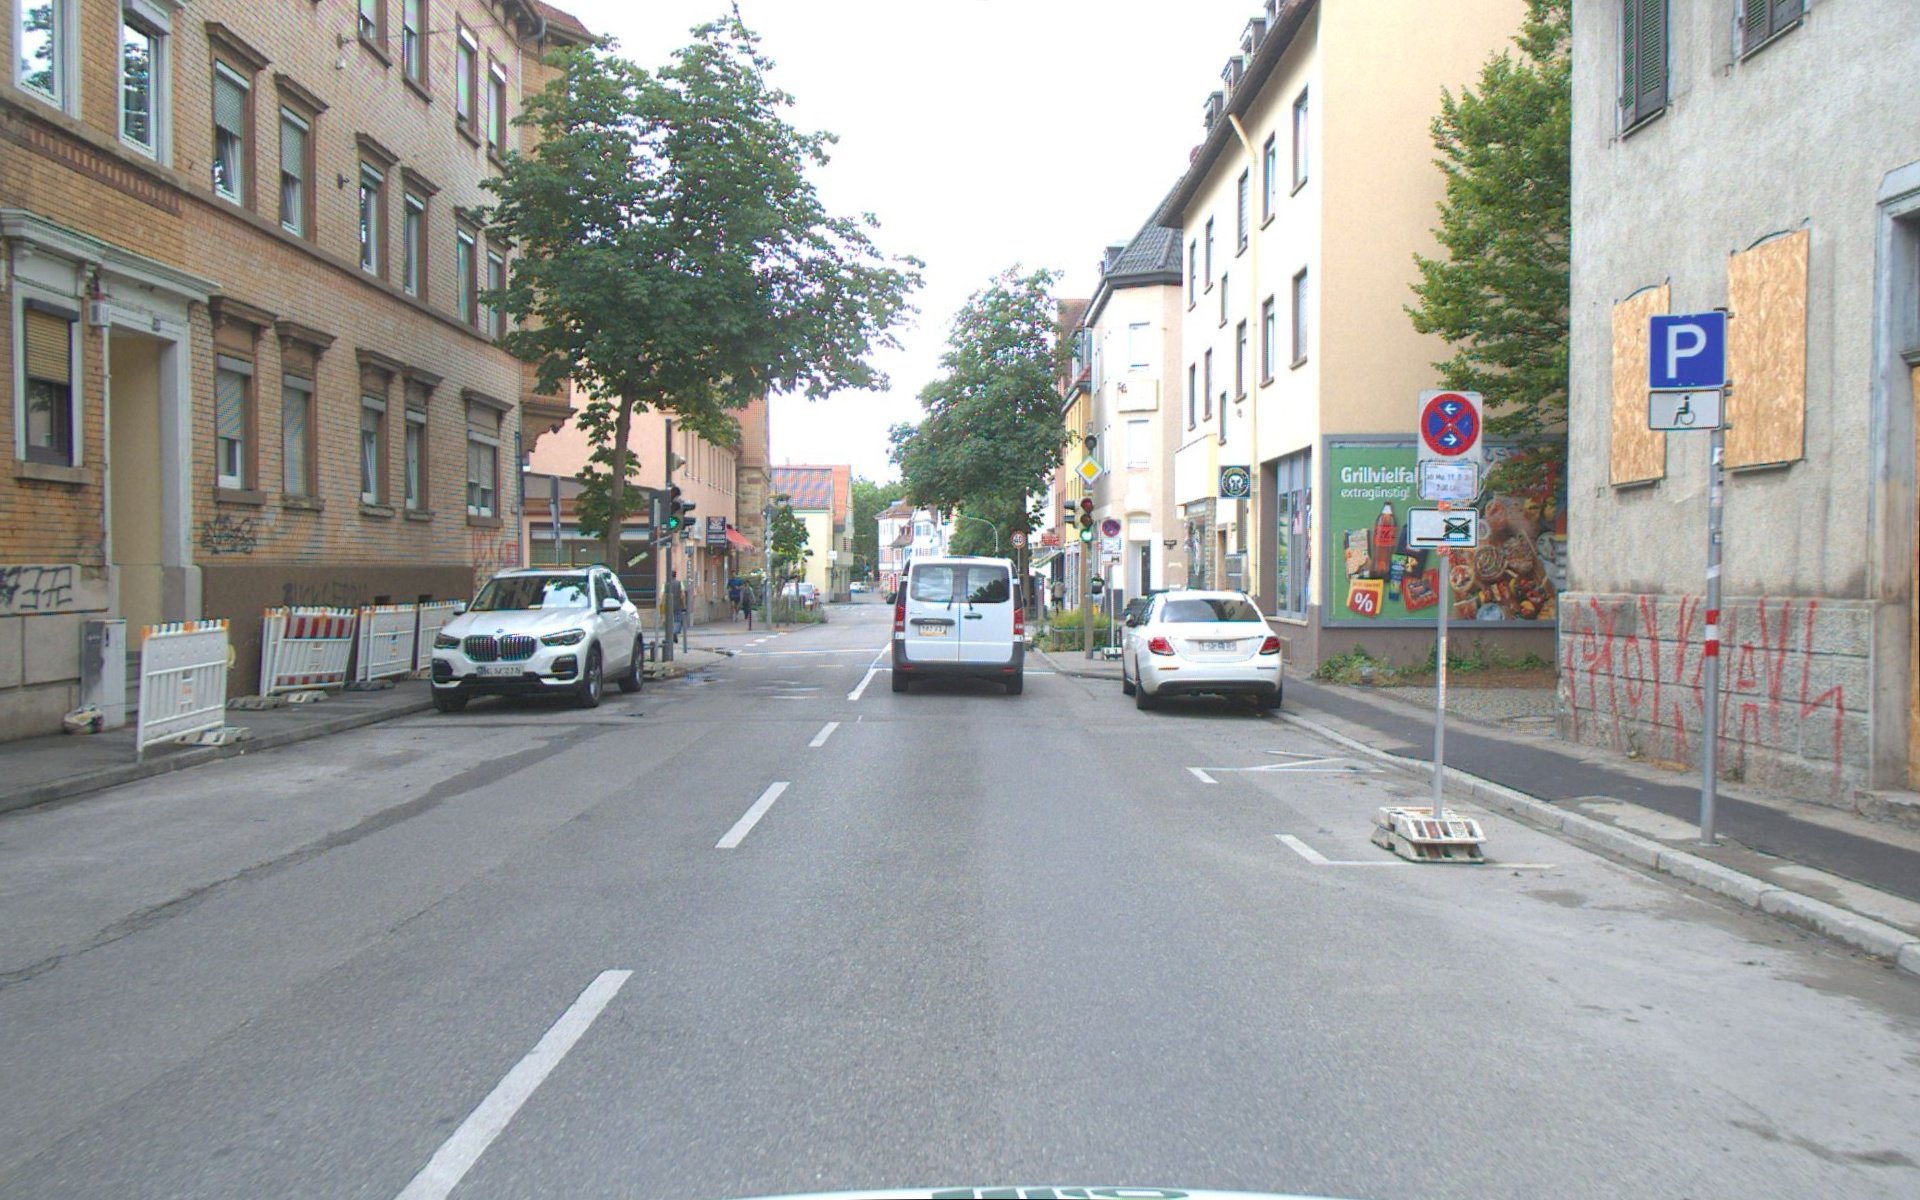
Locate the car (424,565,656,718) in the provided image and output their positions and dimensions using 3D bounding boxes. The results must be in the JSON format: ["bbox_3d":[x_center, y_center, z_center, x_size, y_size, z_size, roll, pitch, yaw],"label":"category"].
[{"bbox_3d":[-5.399,0.456,21.928,1.852,1.742,4.741,-2,1,0],"label":"car"}]

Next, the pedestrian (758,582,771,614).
[{"bbox_3d":[-9.630,-0.104,81.485,0.559,1.581,0.696,1,0,-2],"label":"pedestrian"}]

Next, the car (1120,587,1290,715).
[{"bbox_3d":[3.145,0.590,22.084,1.730,1.491,4.785,0,1,2],"label":"car"}]

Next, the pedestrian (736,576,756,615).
[{"bbox_3d":[-8.680,-0.172,67.205,0.724,1.561,0.982,0,1,-3],"label":"pedestrian"}]

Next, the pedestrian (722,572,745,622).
[{"bbox_3d":[-8.098,-0.122,59.151,0.724,1.748,1.156,0,1,-4],"label":"pedestrian"}]

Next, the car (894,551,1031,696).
[{"bbox_3d":[-0.001,0.294,24.155,1.834,1.945,3.999,0,0,-1],"label":"car"}]

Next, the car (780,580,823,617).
[{"bbox_3d":[-7.265,-0.098,76.025,1.669,1.601,4.448,-2,1,-3],"label":"car"}]

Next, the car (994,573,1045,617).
[{"bbox_3d":[2.514,-0.223,70.980,1.783,1.812,4.400,0,0,-4],"label":"car"}]

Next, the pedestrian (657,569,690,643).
[{"bbox_3d":[-7.047,0.141,40.712,0.724,1.785,0.981,0,0,-6],"label":"pedestrian"}]

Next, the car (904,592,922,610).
[{"bbox_3d":[-5.316,0.114,187.968,1.896,2.049,3.997,1,0,-3],"label":"car"}]

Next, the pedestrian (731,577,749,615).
[{"bbox_3d":[-9.750,-0.190,73.332,0.717,1.657,0.756,0,0,-11],"label":"pedestrian"}]

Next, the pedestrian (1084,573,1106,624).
[{"bbox_3d":[4.491,-0.048,55.048,0.602,1.681,0.982,1,0,-3],"label":"pedestrian"}]

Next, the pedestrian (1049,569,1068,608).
[{"bbox_3d":[4.300,-0.514,72.212,0.687,1.678,0.888,-1,1,-3],"label":"pedestrian"}]
